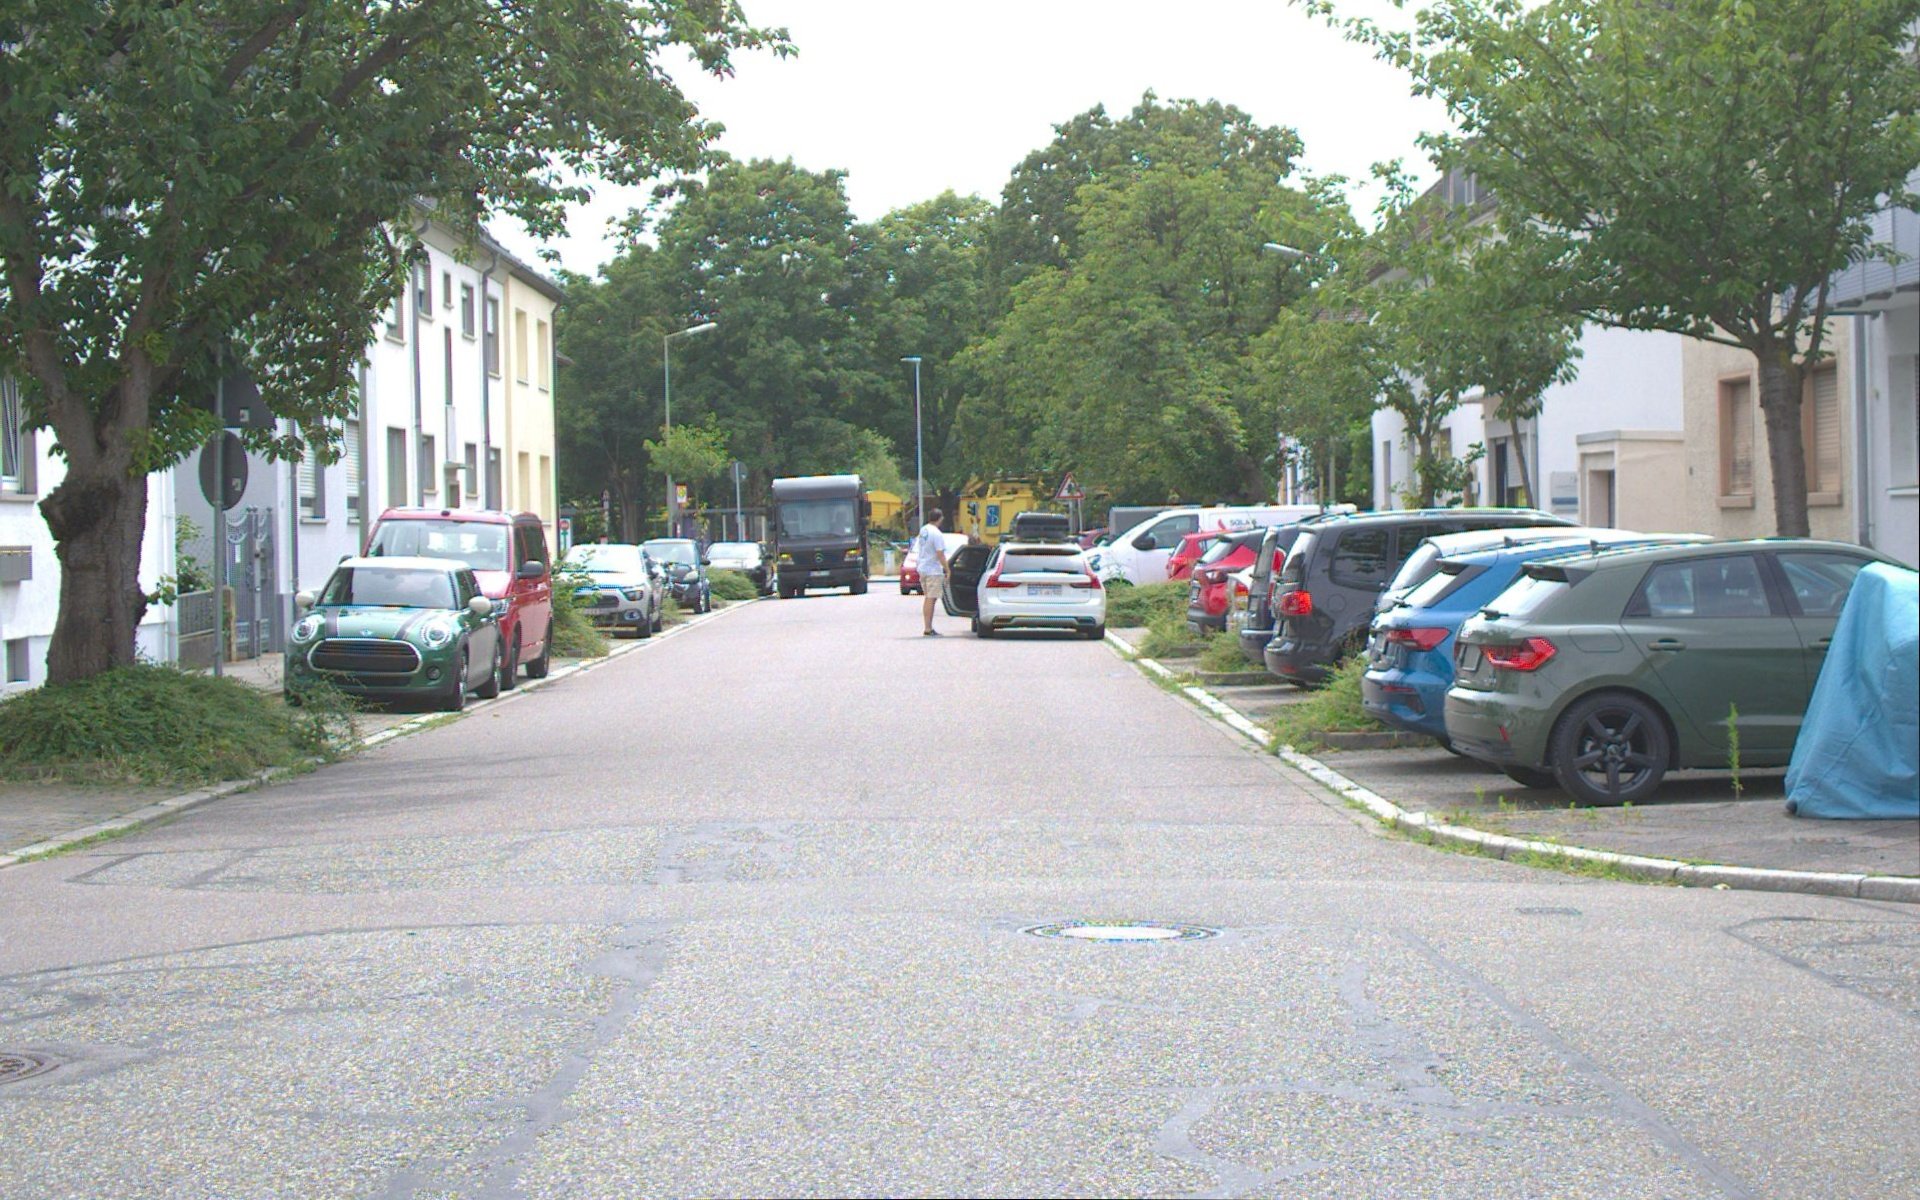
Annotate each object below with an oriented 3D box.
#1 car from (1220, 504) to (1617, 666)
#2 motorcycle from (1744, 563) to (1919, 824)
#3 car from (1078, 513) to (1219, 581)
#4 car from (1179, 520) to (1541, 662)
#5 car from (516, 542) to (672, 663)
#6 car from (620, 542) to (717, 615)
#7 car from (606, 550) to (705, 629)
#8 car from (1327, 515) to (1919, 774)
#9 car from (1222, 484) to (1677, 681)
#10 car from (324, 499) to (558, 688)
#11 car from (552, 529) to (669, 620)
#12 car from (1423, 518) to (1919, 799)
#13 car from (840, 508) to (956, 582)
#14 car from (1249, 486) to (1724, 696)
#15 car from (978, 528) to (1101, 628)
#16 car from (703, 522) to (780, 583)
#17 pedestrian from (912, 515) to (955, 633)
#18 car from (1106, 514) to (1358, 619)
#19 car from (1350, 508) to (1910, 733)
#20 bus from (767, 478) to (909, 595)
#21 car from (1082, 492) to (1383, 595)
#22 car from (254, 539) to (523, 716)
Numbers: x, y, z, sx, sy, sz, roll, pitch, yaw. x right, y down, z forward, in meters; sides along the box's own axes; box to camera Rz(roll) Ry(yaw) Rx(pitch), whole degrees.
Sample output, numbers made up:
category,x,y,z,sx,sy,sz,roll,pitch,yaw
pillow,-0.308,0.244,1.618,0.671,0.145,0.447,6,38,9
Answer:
category,x,y,z,sx,sy,sz,roll,pitch,yaw
car,4.898,-0.172,37.070,3.987,1.513,1.723,-3,1,0
motorcycle,5.022,0.425,16.683,2.193,1.206,0.940,-1,1,-2
car,4.898,-1.392,89.632,3.530,1.597,1.773,-3,1,1
car,4.652,-0.123,40.389,3.987,1.434,1.723,-3,1,0
car,-4.804,0.003,45.518,1.651,1.456,3.552,-3,1,0
car,-5.974,-0.468,70.840,1.651,1.372,3.722,-3,1,0
car,-5.476,-0.219,62.185,1.538,1.297,3.722,-3,1,-2
car,4.188,0.257,21.747,3.517,1.407,1.559,-3,1,1
car,4.561,-0.177,32.471,3.987,1.612,1.867,-3,1,1
car,-5.873,-0.122,39.383,1.993,2.007,4.521,-1,1,0
car,-5.770,-0.442,57.120,1.651,1.372,3.722,-3,1,-2
car,4.591,0.270,19.157,3.747,1.361,1.773,-3,1,1
car,-1.448,-1.321,81.646,1.994,1.612,3.999,-3,1,9
car,4.446,-0.093,29.426,3.747,1.559,1.773,-3,1,1
car,1.179,-0.353,51.054,1.687,1.349,3.826,-3,1,1
car,-5.694,-1.264,89.999,1.621,1.497,4.000,-3,1,1
pedestrian,-0.391,-0.384,50.455,0.522,1.698,0.444,-3,1,4
car,4.488,-0.562,57.099,3.987,1.513,1.723,-3,1,0
car,5.181,0.138,26.937,3.987,1.513,1.723,-3,1,0
bus,-3.078,-1.658,89.017,3.004,2.751,8.924,-3,1,2
car,4.679,-0.978,59.457,4.974,1.513,1.769,-3,1,-1
car,-5.564,0.226,33.905,1.763,1.548,3.730,-3,1,3
